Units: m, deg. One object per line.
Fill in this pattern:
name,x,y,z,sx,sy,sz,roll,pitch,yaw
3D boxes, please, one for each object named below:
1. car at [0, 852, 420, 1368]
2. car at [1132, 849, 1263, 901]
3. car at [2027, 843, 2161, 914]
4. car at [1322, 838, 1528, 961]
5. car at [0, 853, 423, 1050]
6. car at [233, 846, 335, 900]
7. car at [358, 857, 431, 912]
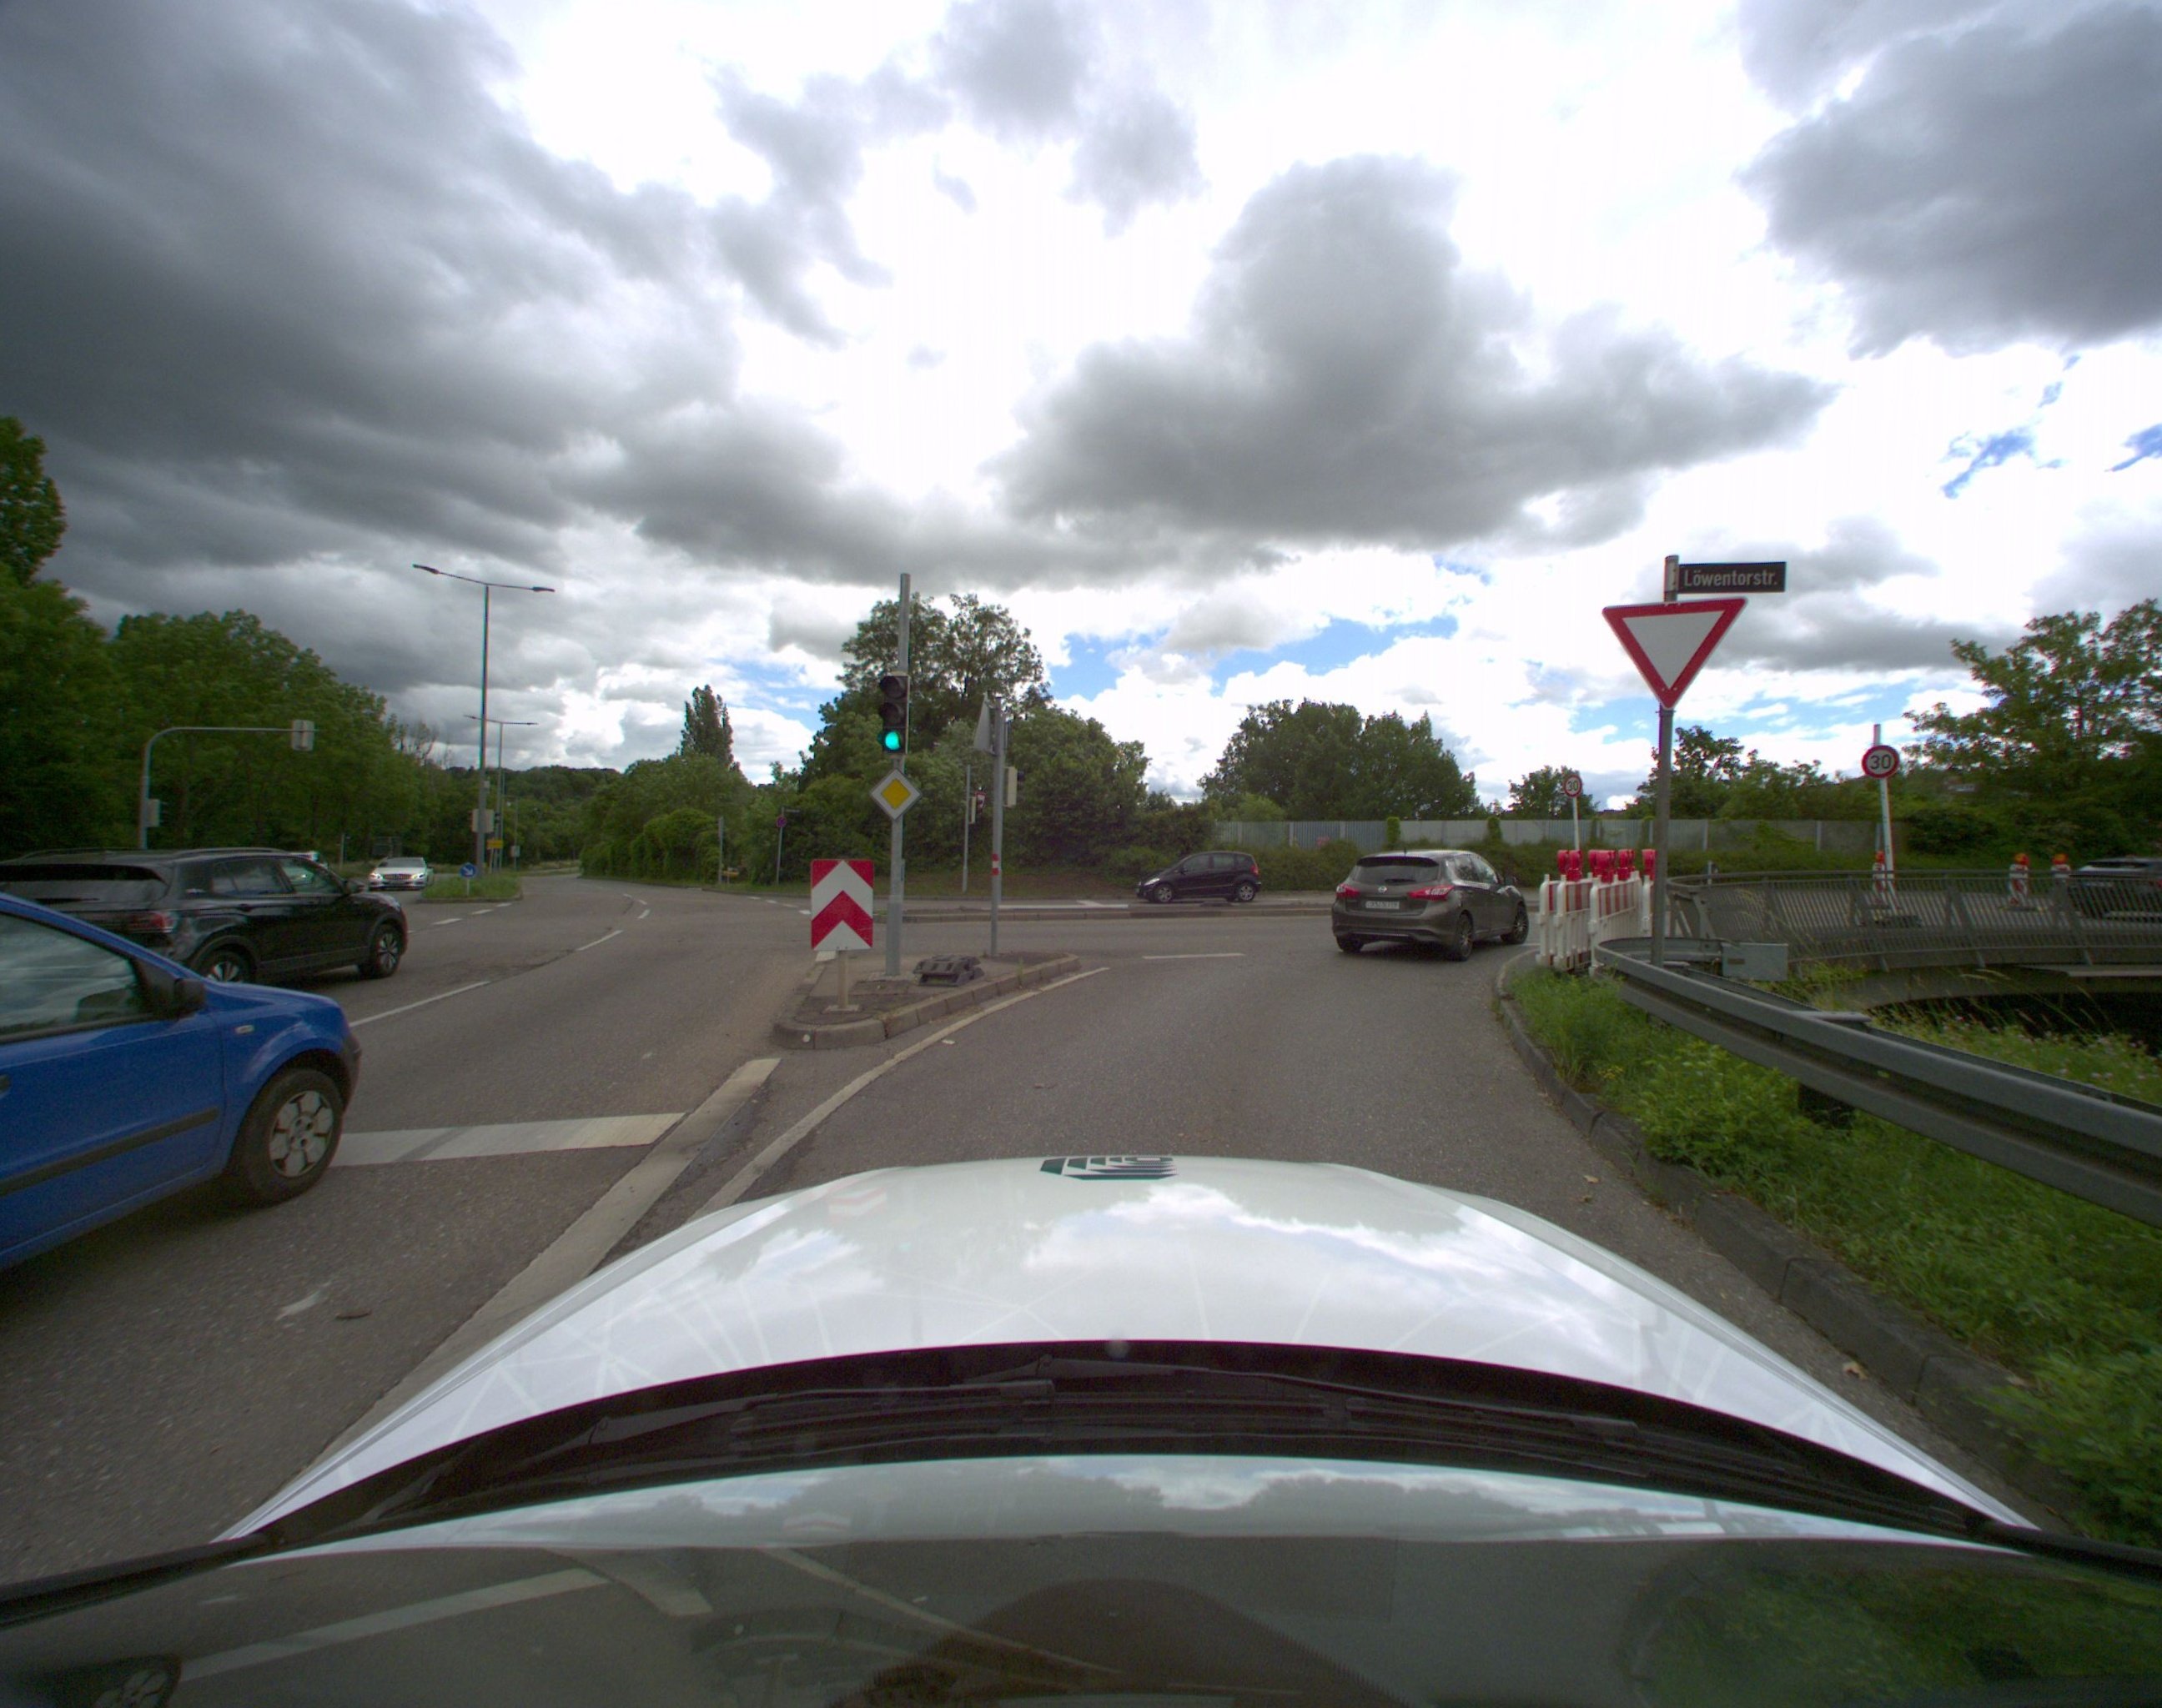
car,-3.964,0.758,2.456,1.542,1.507,3.370,0,0,-9
car,3.613,0.660,25.525,3.773,1.552,1.639,1,-2,-8
car,24.875,0.527,18.995,3.770,1.552,1.822,0,1,-5
car,5.365,0.569,12.409,1.780,1.552,4.025,0,0,40
car,-8.748,0.775,8.338,1.658,1.507,3.752,-1,1,-14
car,-30.848,0.717,31.661,2.091,1.759,4.277,3,1,-35
car,-29.345,1.257,34.940,1.943,1.994,4.277,3,1,-35
